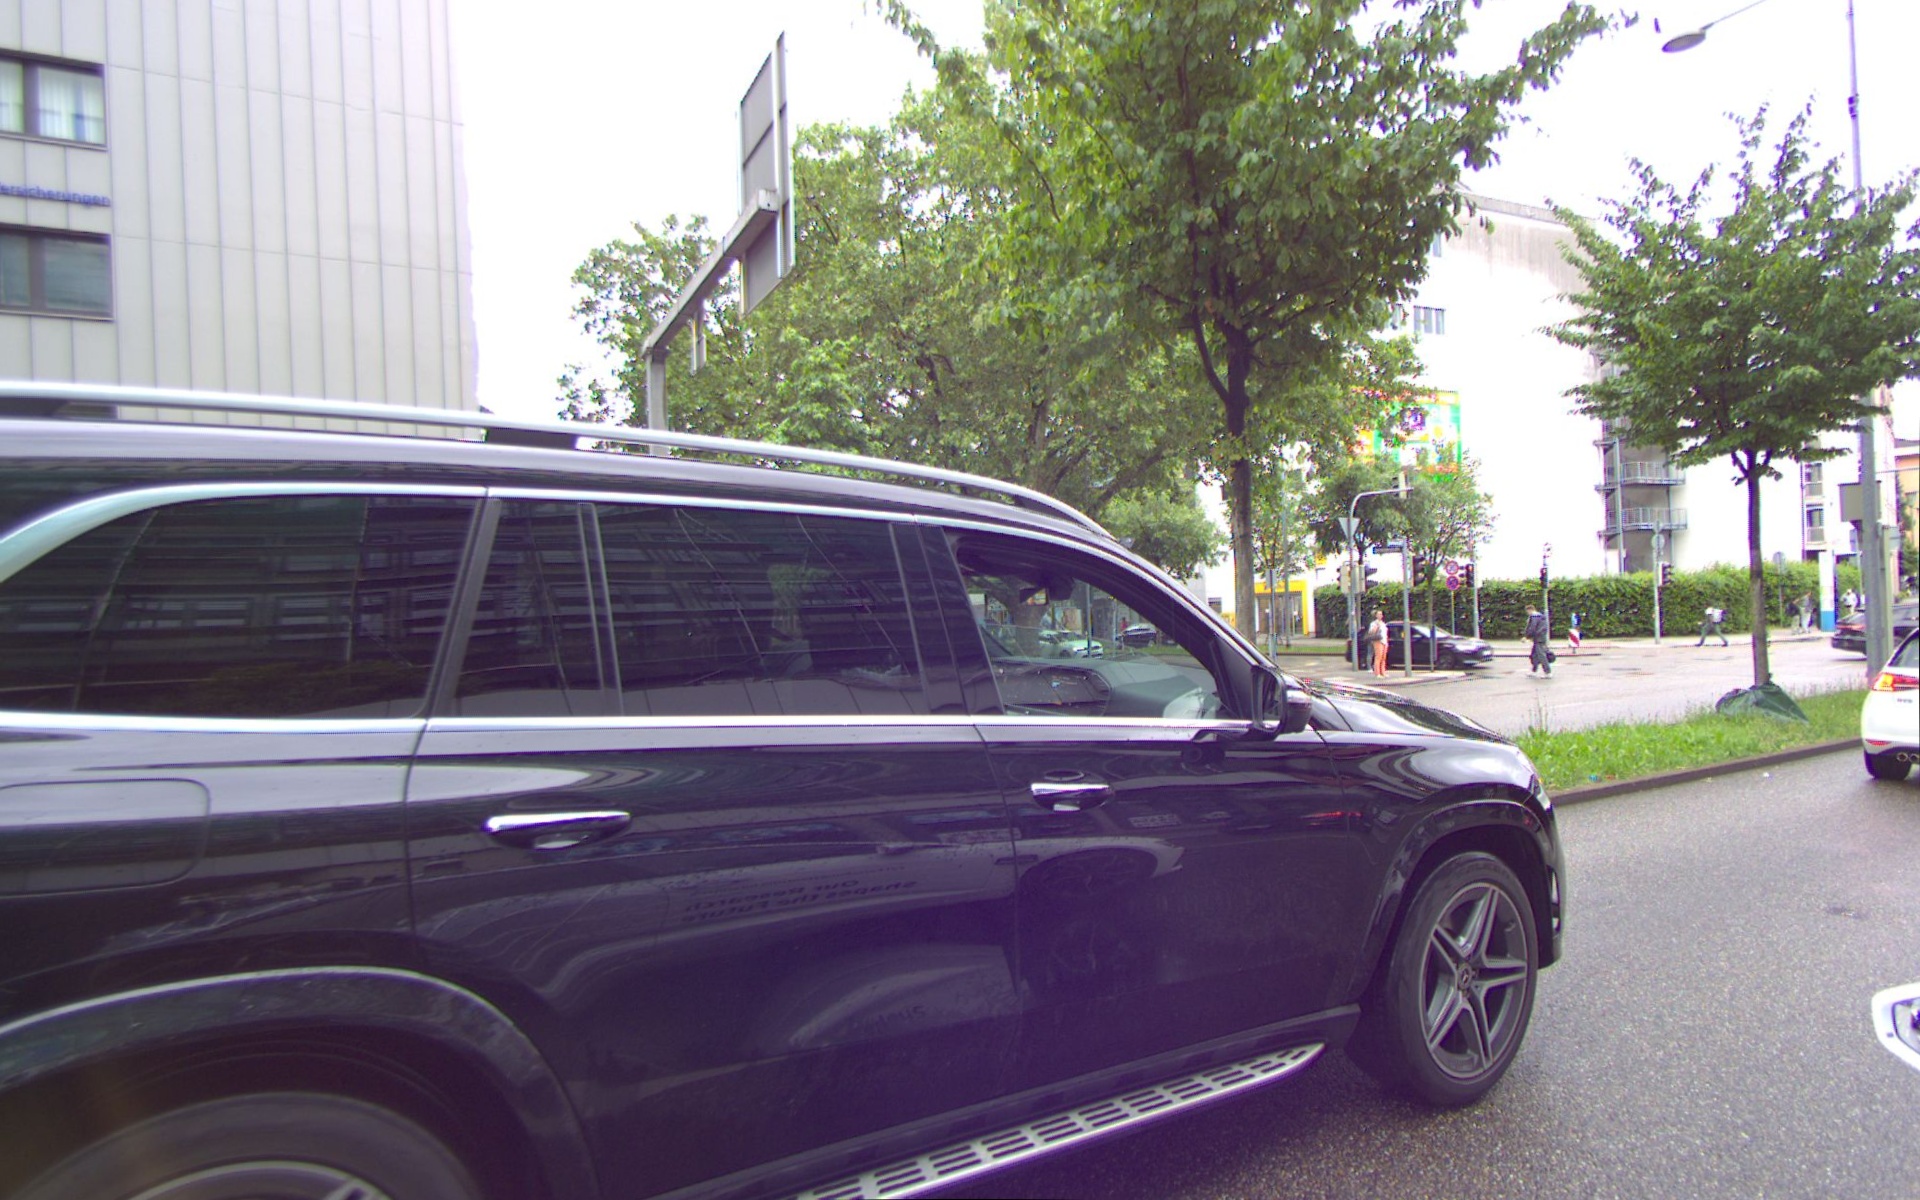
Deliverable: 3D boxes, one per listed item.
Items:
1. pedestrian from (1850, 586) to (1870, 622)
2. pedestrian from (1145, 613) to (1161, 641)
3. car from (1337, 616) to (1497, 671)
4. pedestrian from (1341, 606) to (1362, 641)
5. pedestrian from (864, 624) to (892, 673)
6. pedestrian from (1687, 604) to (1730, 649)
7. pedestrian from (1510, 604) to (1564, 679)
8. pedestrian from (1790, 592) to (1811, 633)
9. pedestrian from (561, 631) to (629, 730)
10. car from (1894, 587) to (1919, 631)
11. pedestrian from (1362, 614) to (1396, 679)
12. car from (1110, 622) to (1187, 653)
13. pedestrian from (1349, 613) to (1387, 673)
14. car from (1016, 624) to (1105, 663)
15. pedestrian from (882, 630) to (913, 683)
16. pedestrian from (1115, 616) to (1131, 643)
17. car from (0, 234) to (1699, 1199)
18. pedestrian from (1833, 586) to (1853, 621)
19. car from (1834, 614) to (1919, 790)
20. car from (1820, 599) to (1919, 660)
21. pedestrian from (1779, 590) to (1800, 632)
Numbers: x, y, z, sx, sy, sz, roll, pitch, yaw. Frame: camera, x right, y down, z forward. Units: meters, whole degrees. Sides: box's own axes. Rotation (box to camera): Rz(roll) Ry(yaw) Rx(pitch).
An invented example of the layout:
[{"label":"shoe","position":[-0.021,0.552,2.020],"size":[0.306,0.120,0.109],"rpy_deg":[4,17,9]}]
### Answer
[{"label":"pedestrian","position":[44.539,0.200,49.715],"size":[0.651,1.751,0.591],"rpy_deg":[2,-1,-38]},{"label":"pedestrian","position":[11.588,1.627,60.314],"size":[0.630,1.664,0.729],"rpy_deg":[2,0,-24]},{"label":"car","position":[14.046,1.303,31.045],"size":[1.690,1.586,4.193],"rpy_deg":[1,-2,-40]},{"label":"pedestrian","position":[19.171,1.143,49.181],"size":[0.633,1.664,0.726],"rpy_deg":[2,-1,-37]},{"label":"pedestrian","position":[-2.932,1.727,35.736],"size":[0.780,1.719,0.721],"rpy_deg":[1,-2,-26]},{"label":"pedestrian","position":[27.031,0.947,36.286],"size":[0.677,1.599,1.055],"rpy_deg":[2,-1,-34]},{"label":"pedestrian","position":[14.333,1.032,24.940],"size":[0.702,1.807,0.917],"rpy_deg":[2,-1,-35]},{"label":"pedestrian","position":[36.194,0.537,43.238],"size":[0.559,1.771,0.535],"rpy_deg":[2,-1,-35]},{"label":"pedestrian","position":[-6.517,1.418,17.917],"size":[0.954,1.702,0.703],"rpy_deg":[2,-1,-33]},{"label":"car","position":[34.235,0.287,35.096],"size":[3.571,1.506,1.565],"rpy_deg":[0,1,-33]},{"label":"pedestrian","position":[11.047,1.217,26.472],"size":[0.572,1.684,0.554],"rpy_deg":[-2,0,-30]},{"label":"car","position":[9.792,1.974,52.507],"size":[1.771,1.474,4.035],"rpy_deg":[-2,-2,-29]},{"label":"pedestrian","position":[11.674,1.218,28.738],"size":[0.620,1.684,0.749],"rpy_deg":[-2,0,-30]},{"label":"car","position":[4.357,1.865,44.035],"size":[1.620,1.506,4.269],"rpy_deg":[0,1,-32]},{"label":"pedestrian","position":[-2.056,1.846,32.885],"size":[0.719,1.719,0.782],"rpy_deg":[2,-3,-35]},{"label":"pedestrian","position":[10.274,1.862,63.166],"size":[0.723,1.664,0.635],"rpy_deg":[2,0,-23]},{"label":"car","position":[-0.144,0.545,3.000],"size":[5.013,1.895,1.902],"rpy_deg":[2,-1,-30]},{"label":"pedestrian","position":[44.126,0.168,50.187],"size":[0.651,1.751,0.591],"rpy_deg":[2,-1,-38]},{"label":"car","position":[9.714,0.864,9.078],"size":[3.800,1.448,1.767],"rpy_deg":[0,0,-33]},{"label":"car","position":[25.102,0.703,25.749],"size":[4.436,1.474,1.786],"rpy_deg":[-4,-2,37]},{"label":"pedestrian","position":[34.907,0.465,42.264],"size":[0.741,1.771,0.535],"rpy_deg":[2,-1,-38]}]
